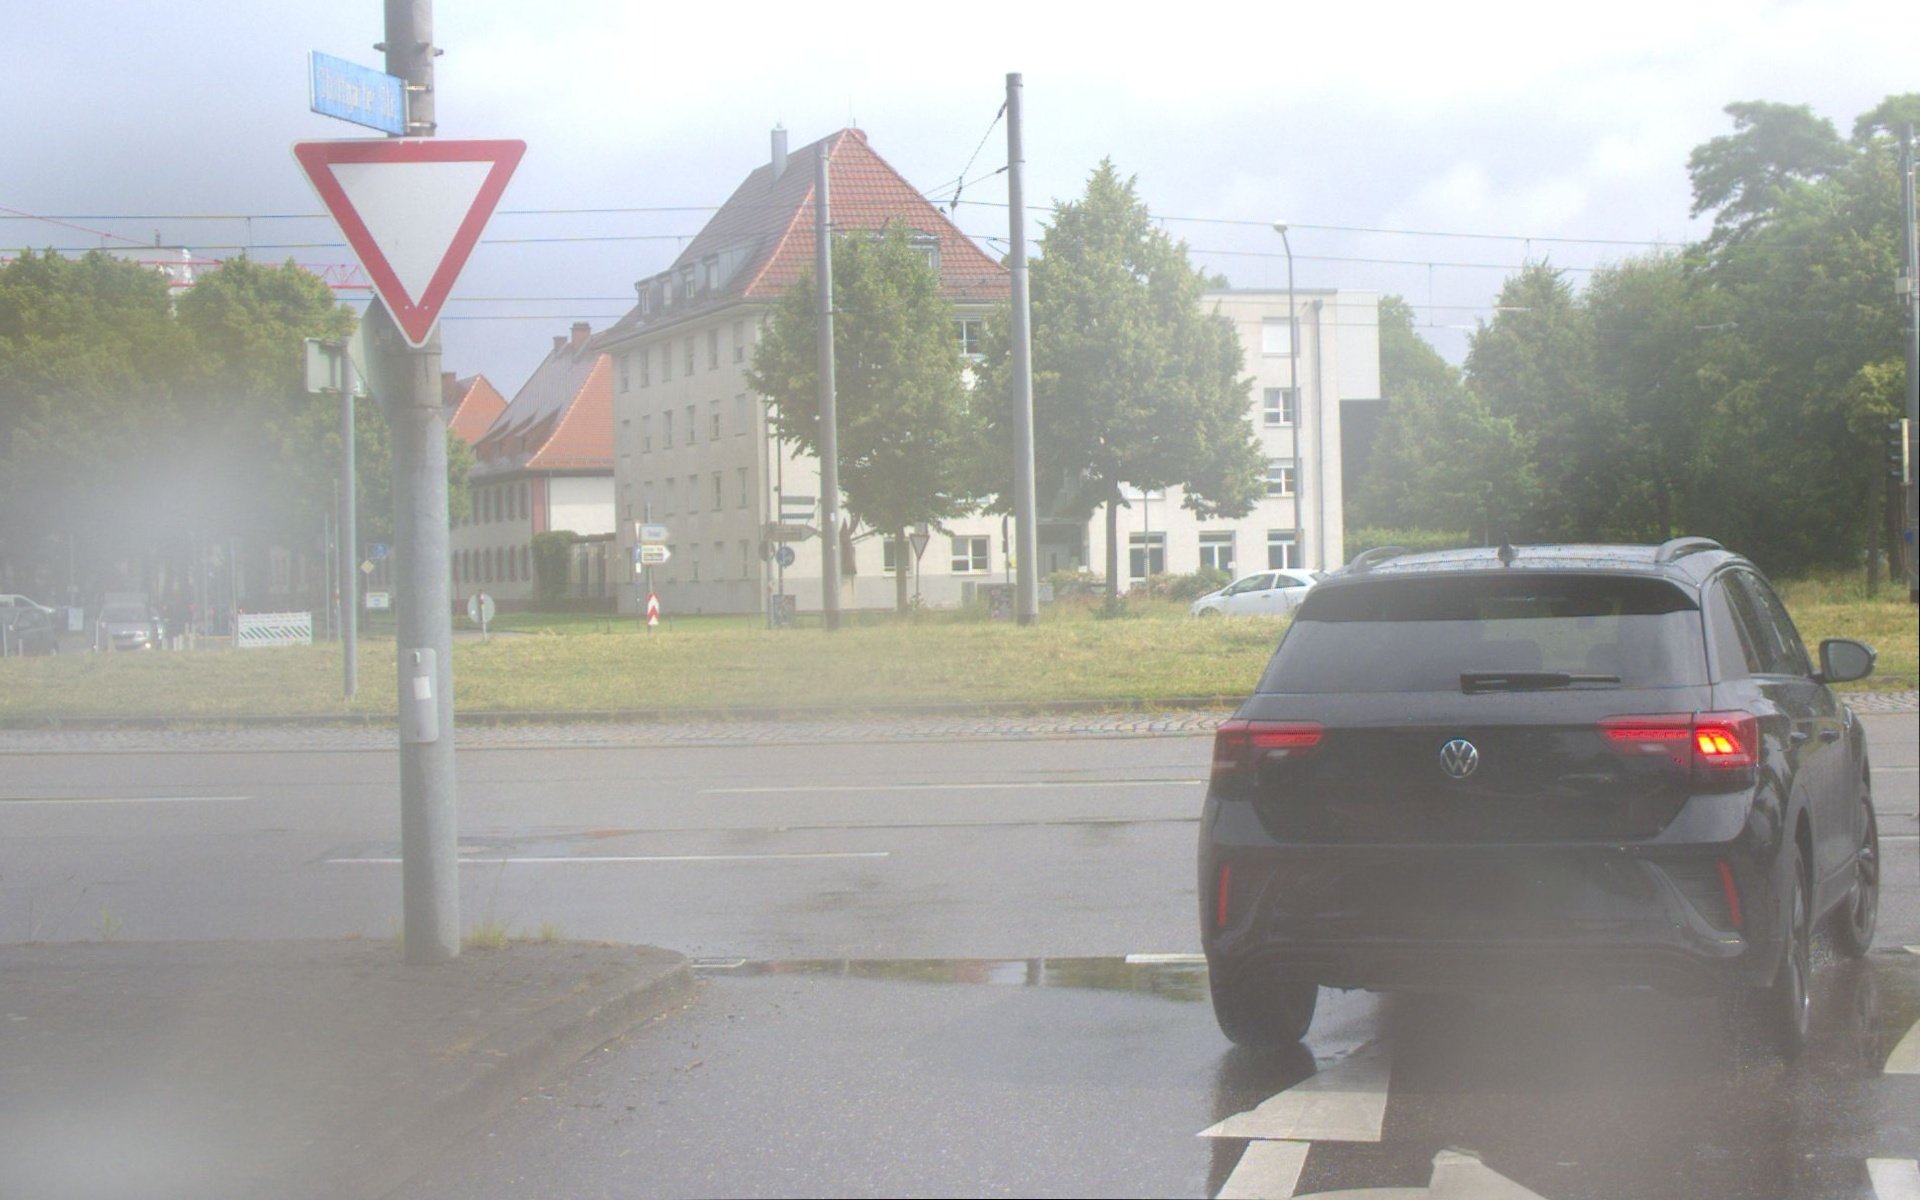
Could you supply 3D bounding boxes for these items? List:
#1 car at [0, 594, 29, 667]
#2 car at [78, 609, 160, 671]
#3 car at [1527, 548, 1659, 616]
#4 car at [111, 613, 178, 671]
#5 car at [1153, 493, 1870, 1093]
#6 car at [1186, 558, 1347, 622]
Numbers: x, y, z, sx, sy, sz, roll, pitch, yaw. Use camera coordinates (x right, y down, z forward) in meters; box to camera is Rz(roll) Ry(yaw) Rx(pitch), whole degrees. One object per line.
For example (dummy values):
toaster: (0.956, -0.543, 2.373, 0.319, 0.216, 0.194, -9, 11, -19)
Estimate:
car: (-22.351, 0.688, 77.640, 1.791, 1.579, 4.001, -1, 1, -4)
car: (-22.590, 1.058, 92.444, 1.545, 1.555, 3.500, -1, 0, -4)
car: (20.268, -0.603, 110.257, 2.106, 2.050, 5.163, -2, 1, -15)
car: (-23.798, 1.218, 100.423, 1.594, 1.555, 3.551, -1, 1, -9)
car: (2.017, 0.497, 11.495, 1.899, 1.612, 3.997, 1, 1, 16)
car: (7.357, -0.242, 82.561, 3.494, 1.449, 1.548, -1, 1, 29)
